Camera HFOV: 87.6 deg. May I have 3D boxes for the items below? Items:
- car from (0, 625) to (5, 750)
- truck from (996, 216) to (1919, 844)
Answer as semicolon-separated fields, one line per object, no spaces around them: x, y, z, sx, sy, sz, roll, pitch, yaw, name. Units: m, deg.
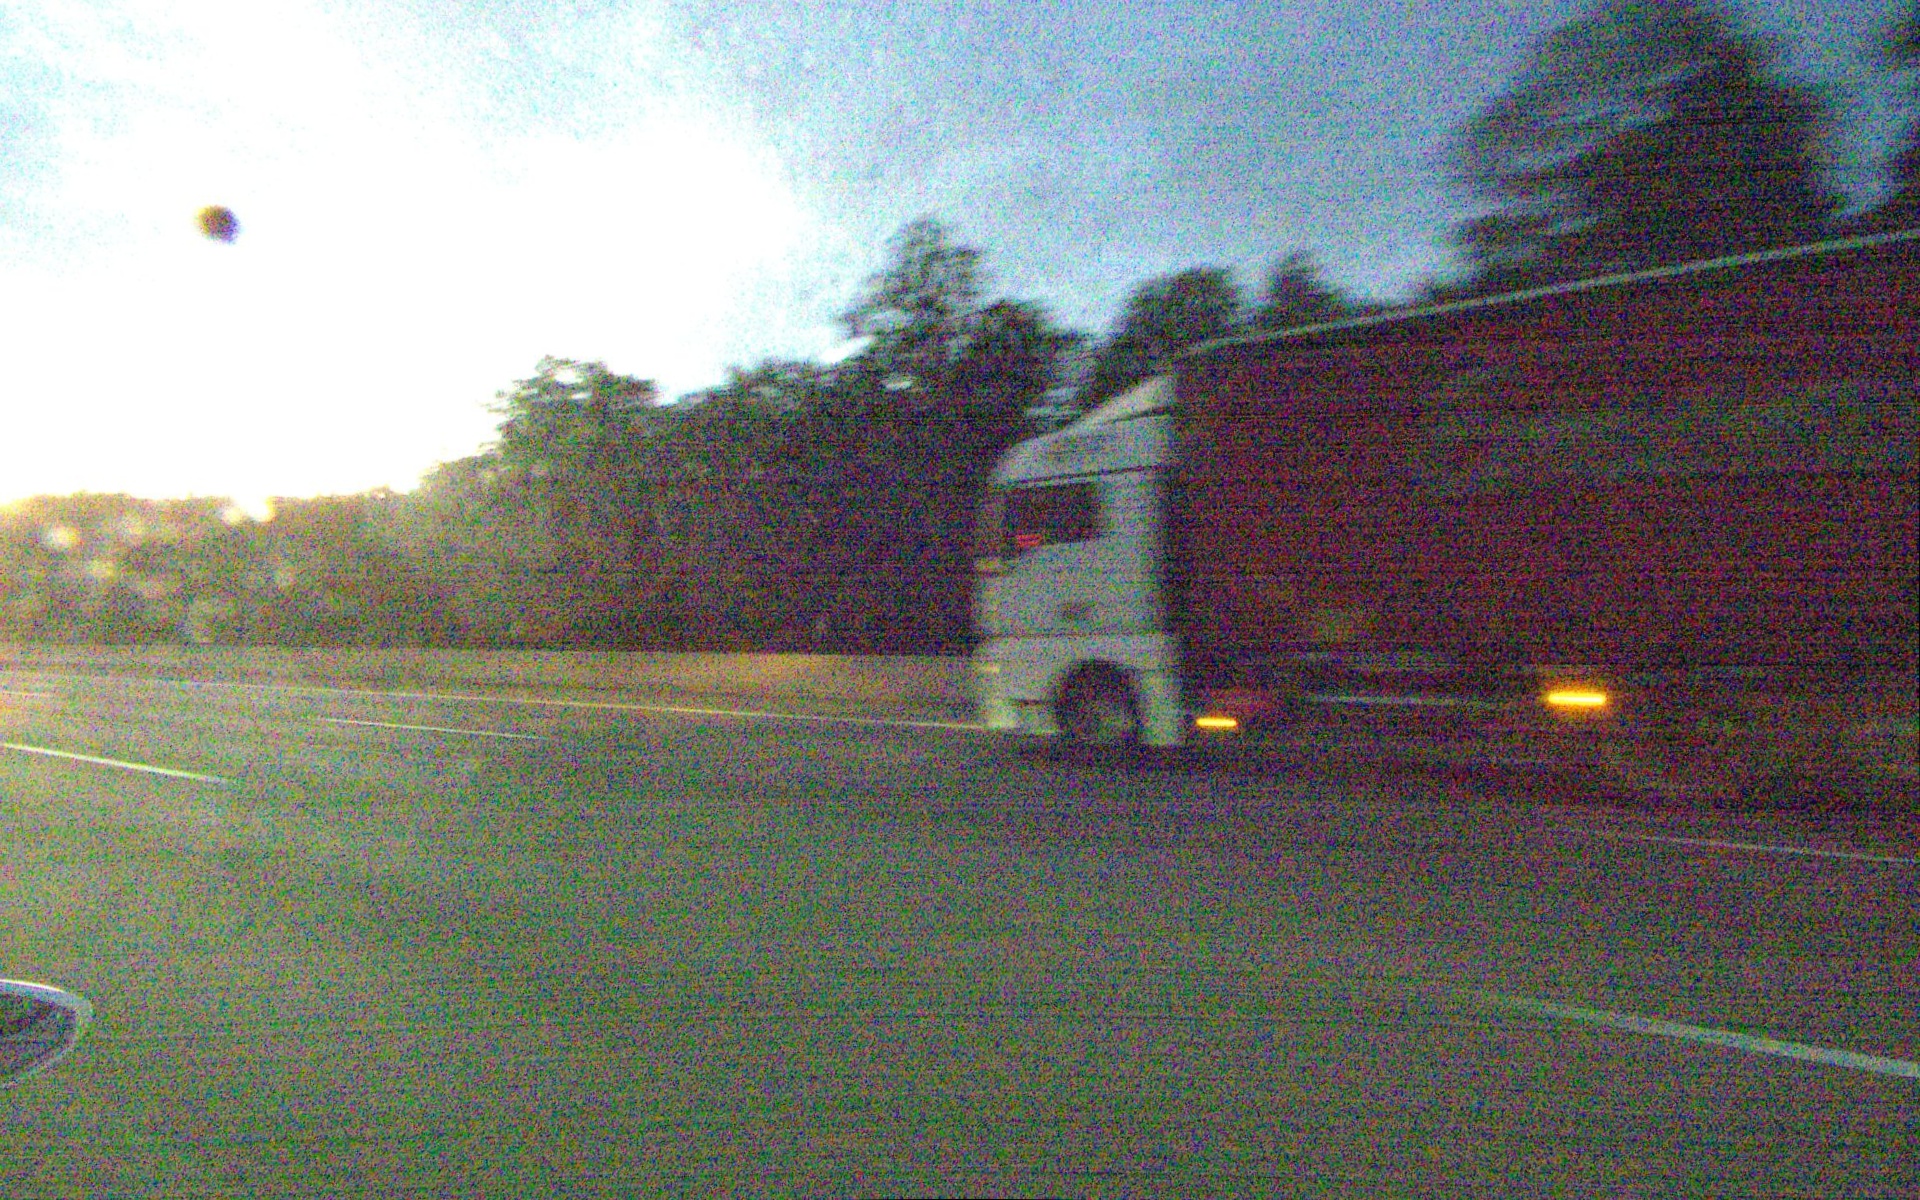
-13.265;1.037;11.931;3.666;1.460;1.857;-1;-2;31;car
5.628;-0.417;8.791;10.678;4.154;2.879;-1;-1;33;truck
